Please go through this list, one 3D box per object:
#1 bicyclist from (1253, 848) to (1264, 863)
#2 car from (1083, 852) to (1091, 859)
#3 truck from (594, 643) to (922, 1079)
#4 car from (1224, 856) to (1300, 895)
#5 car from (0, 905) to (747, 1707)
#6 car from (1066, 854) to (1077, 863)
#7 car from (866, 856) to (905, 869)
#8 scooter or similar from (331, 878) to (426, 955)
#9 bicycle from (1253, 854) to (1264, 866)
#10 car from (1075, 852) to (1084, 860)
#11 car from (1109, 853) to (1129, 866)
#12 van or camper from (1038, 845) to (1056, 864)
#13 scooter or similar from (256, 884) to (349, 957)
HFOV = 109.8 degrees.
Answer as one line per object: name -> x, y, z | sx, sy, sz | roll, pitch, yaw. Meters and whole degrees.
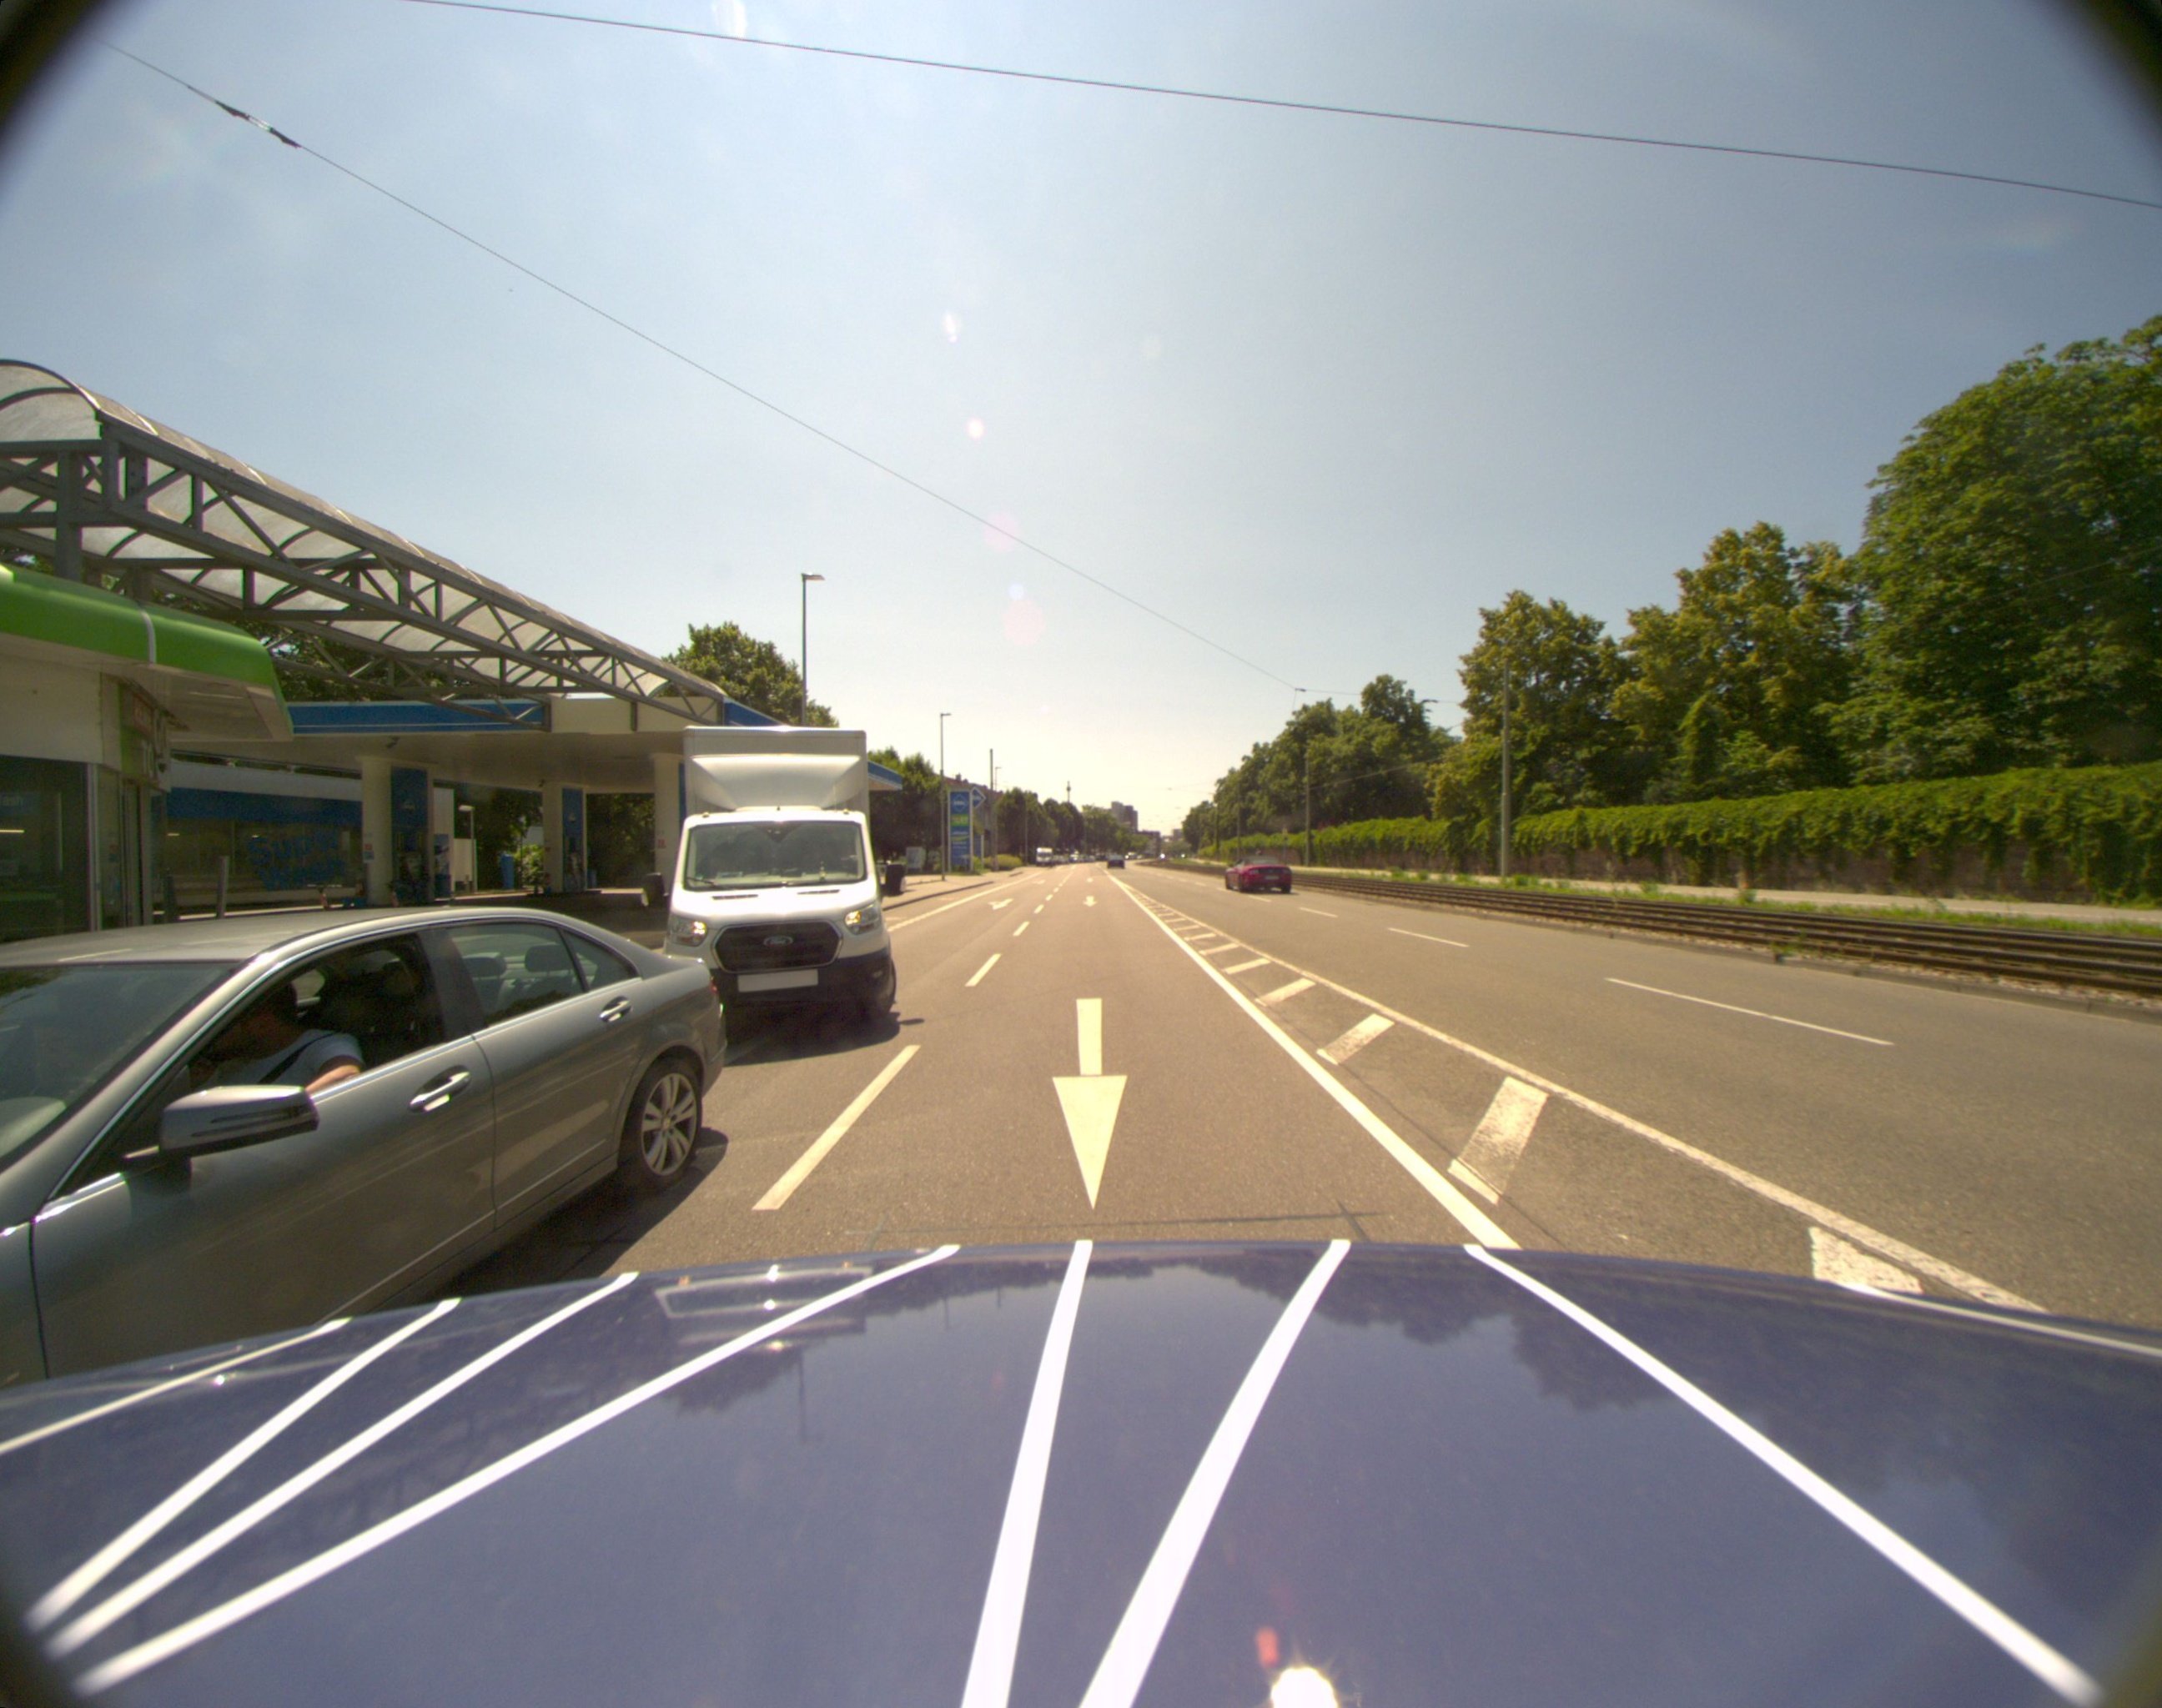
bicyclist -> 17.782, 0.115, 76.148 | 0.996, 1.477, 1.000 | -1, 1, 6
car -> 1.300, 0.307, 168.913 | 1.807, 1.585, 4.000 | -1, 0, 1
truck -> -3.868, 0.047, 9.957 | 2.430, 3.372, 7.820 | -1, 0, -19
car -> 6.993, 0.791, 29.855 | 1.989, 1.350, 4.538 | -1, 0, 2
car -> -2.925, 1.045, 2.259 | 1.800, 1.441, 4.418 | -1, 0, 1
car -> -1.868, 0.864, 148.907 | 1.725, 1.586, 4.001 | -1, 0, 3
car -> -24.284, 1.038, 94.411 | 4.221, 1.512, 2.001 | -1, 0, 8
scooter or similar -> -11.723, 1.038, 12.696 | 1.176, 1.233, 0.411 | -1, 1, 1
bicycle -> 17.815, 0.629, 76.337 | 0.830, 1.149, 2.686 | -1, 0, 7
car -> -0.259, 0.417, 161.025 | 1.907, 1.707, 4.000 | -1, 0, 1
car -> 4.125, 0.558, 82.999 | 1.798, 1.391, 4.447 | 0, 0, -1
van or camper -> -4.470, 0.047, 100.108 | 2.126, 2.469, 5.992 | 2, 0, -1
scooter or similar -> -13.010, 1.098, 12.707 | 1.138, 1.170, 0.384 | -1, 1, 1
